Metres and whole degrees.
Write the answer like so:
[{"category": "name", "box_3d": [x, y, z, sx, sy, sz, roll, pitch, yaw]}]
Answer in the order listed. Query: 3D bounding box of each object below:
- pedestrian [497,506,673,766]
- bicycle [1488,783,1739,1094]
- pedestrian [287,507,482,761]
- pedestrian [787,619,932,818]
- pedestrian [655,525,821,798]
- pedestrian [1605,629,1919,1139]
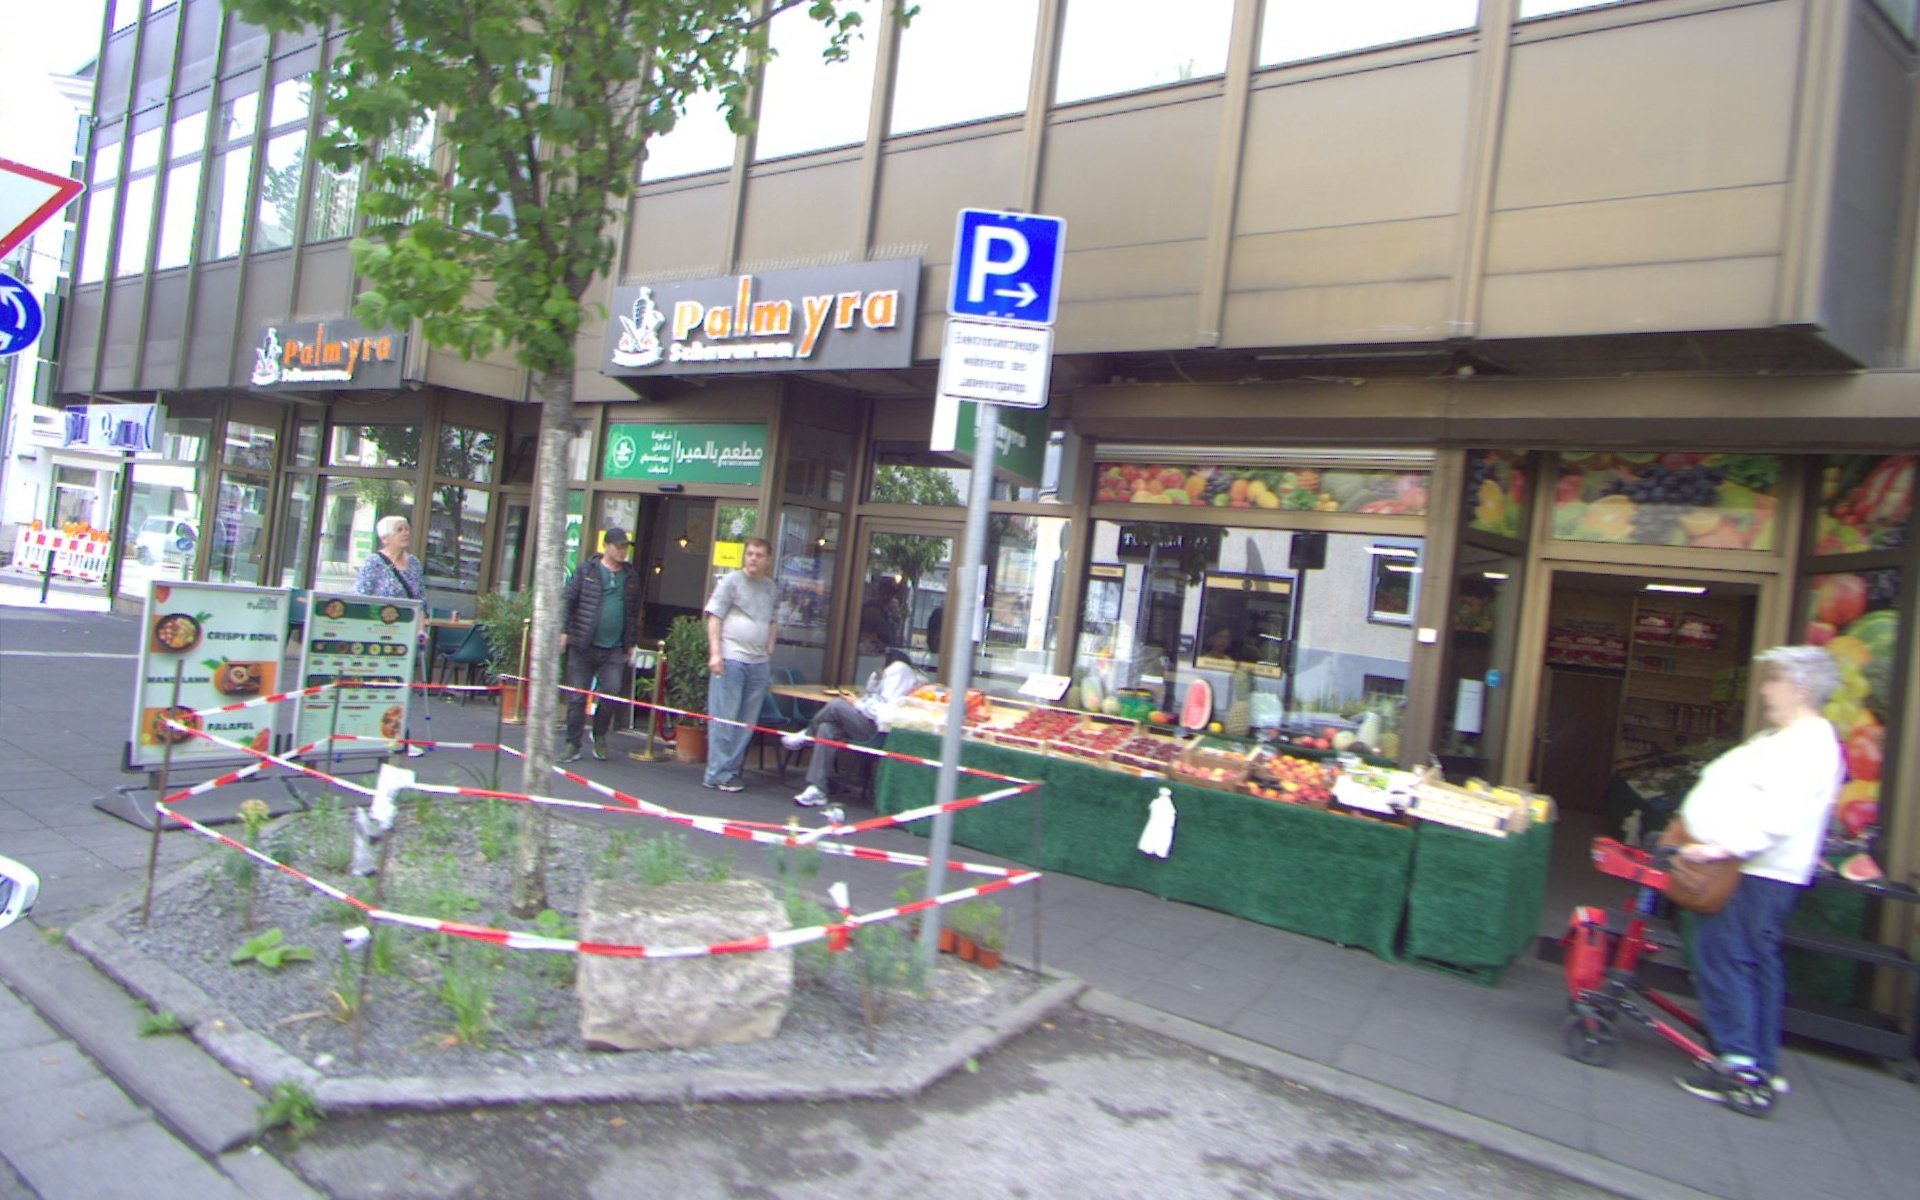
[{"category": "pedestrian", "box_3d": [-2.830, 0.284, 7.643, 0.643, 1.834, 0.811, 6, -2, 32]}, {"category": "bicycle", "box_3d": [2.580, 1.302, 4.035, 0.548, 0.990, 0.604, 7, -2, 8]}, {"category": "pedestrian", "box_3d": [-4.056, 0.229, 7.110, 0.787, 1.635, 0.785, 6, 0, 32]}, {"category": "pedestrian", "box_3d": [-0.699, 0.822, 7.080, 0.603, 1.268, 0.622, 6, -2, 34]}, {"category": "pedestrian", "box_3d": [-1.615, 0.436, 7.359, 0.700, 1.836, 0.738, 6, 1, 32]}, {"category": "pedestrian", "box_3d": [3.115, 1.011, 3.904, 0.635, 1.728, 0.658, 7, 1, 9]}]
